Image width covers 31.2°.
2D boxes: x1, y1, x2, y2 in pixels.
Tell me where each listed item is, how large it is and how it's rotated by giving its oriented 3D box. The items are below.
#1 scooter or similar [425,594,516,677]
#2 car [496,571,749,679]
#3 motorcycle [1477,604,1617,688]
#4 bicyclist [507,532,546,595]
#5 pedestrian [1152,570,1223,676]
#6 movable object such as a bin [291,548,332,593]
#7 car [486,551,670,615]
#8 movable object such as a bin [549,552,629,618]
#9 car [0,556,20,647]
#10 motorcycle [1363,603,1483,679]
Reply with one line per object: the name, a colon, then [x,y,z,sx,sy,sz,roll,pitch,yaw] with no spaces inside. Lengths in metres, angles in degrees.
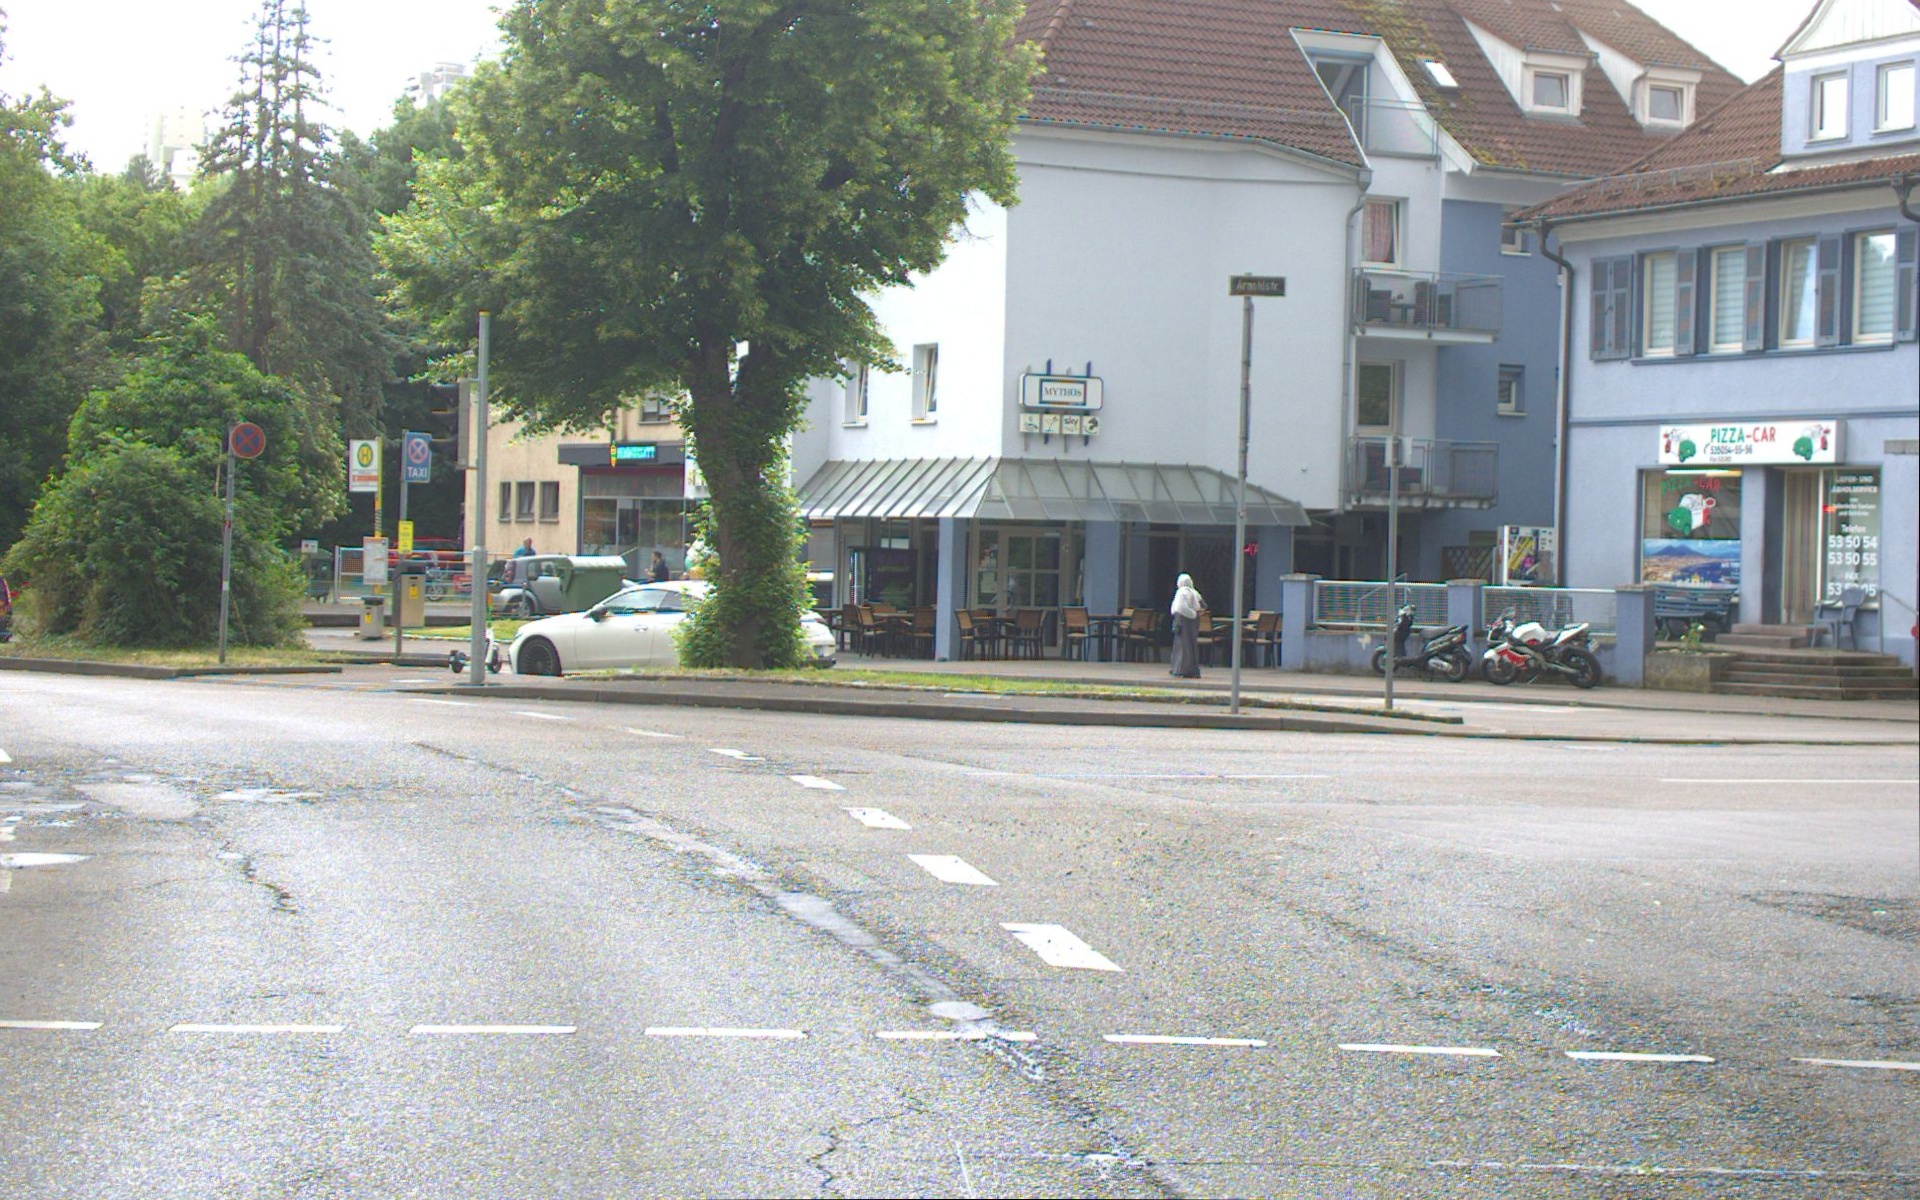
scooter or similar: [-6.062,0.430,42.648,0.417,1.008,1.565,1,1,20]
car: [-4.534,0.314,46.041,3.171,1.350,1.436,2,1,35]
motorcycle: [8.254,0.632,48.379,1.798,1.118,0.693,2,1,38]
bicyclist: [-10.619,-0.897,84.172,0.598,1.536,0.739,1,1,-42]
pedestrian: [3.359,0.331,50.800,0.768,1.539,0.677,1,1,39]
movable object such as a bin: [-16.249,-0.735,86.166,0.950,1.111,0.383,1,1,-21]
car: [-8.428,-0.368,75.870,3.733,1.340,1.434,1,1,-26]
movable object such as a bin: [-7.986,-0.326,73.973,1.440,1.404,0.967,1,1,-27]
car: [-16.517,-0.015,53.720,3.590,1.389,1.469,2,1,32]
motorcycle: [6.748,0.594,50.157,1.636,1.060,0.693,2,1,44]
